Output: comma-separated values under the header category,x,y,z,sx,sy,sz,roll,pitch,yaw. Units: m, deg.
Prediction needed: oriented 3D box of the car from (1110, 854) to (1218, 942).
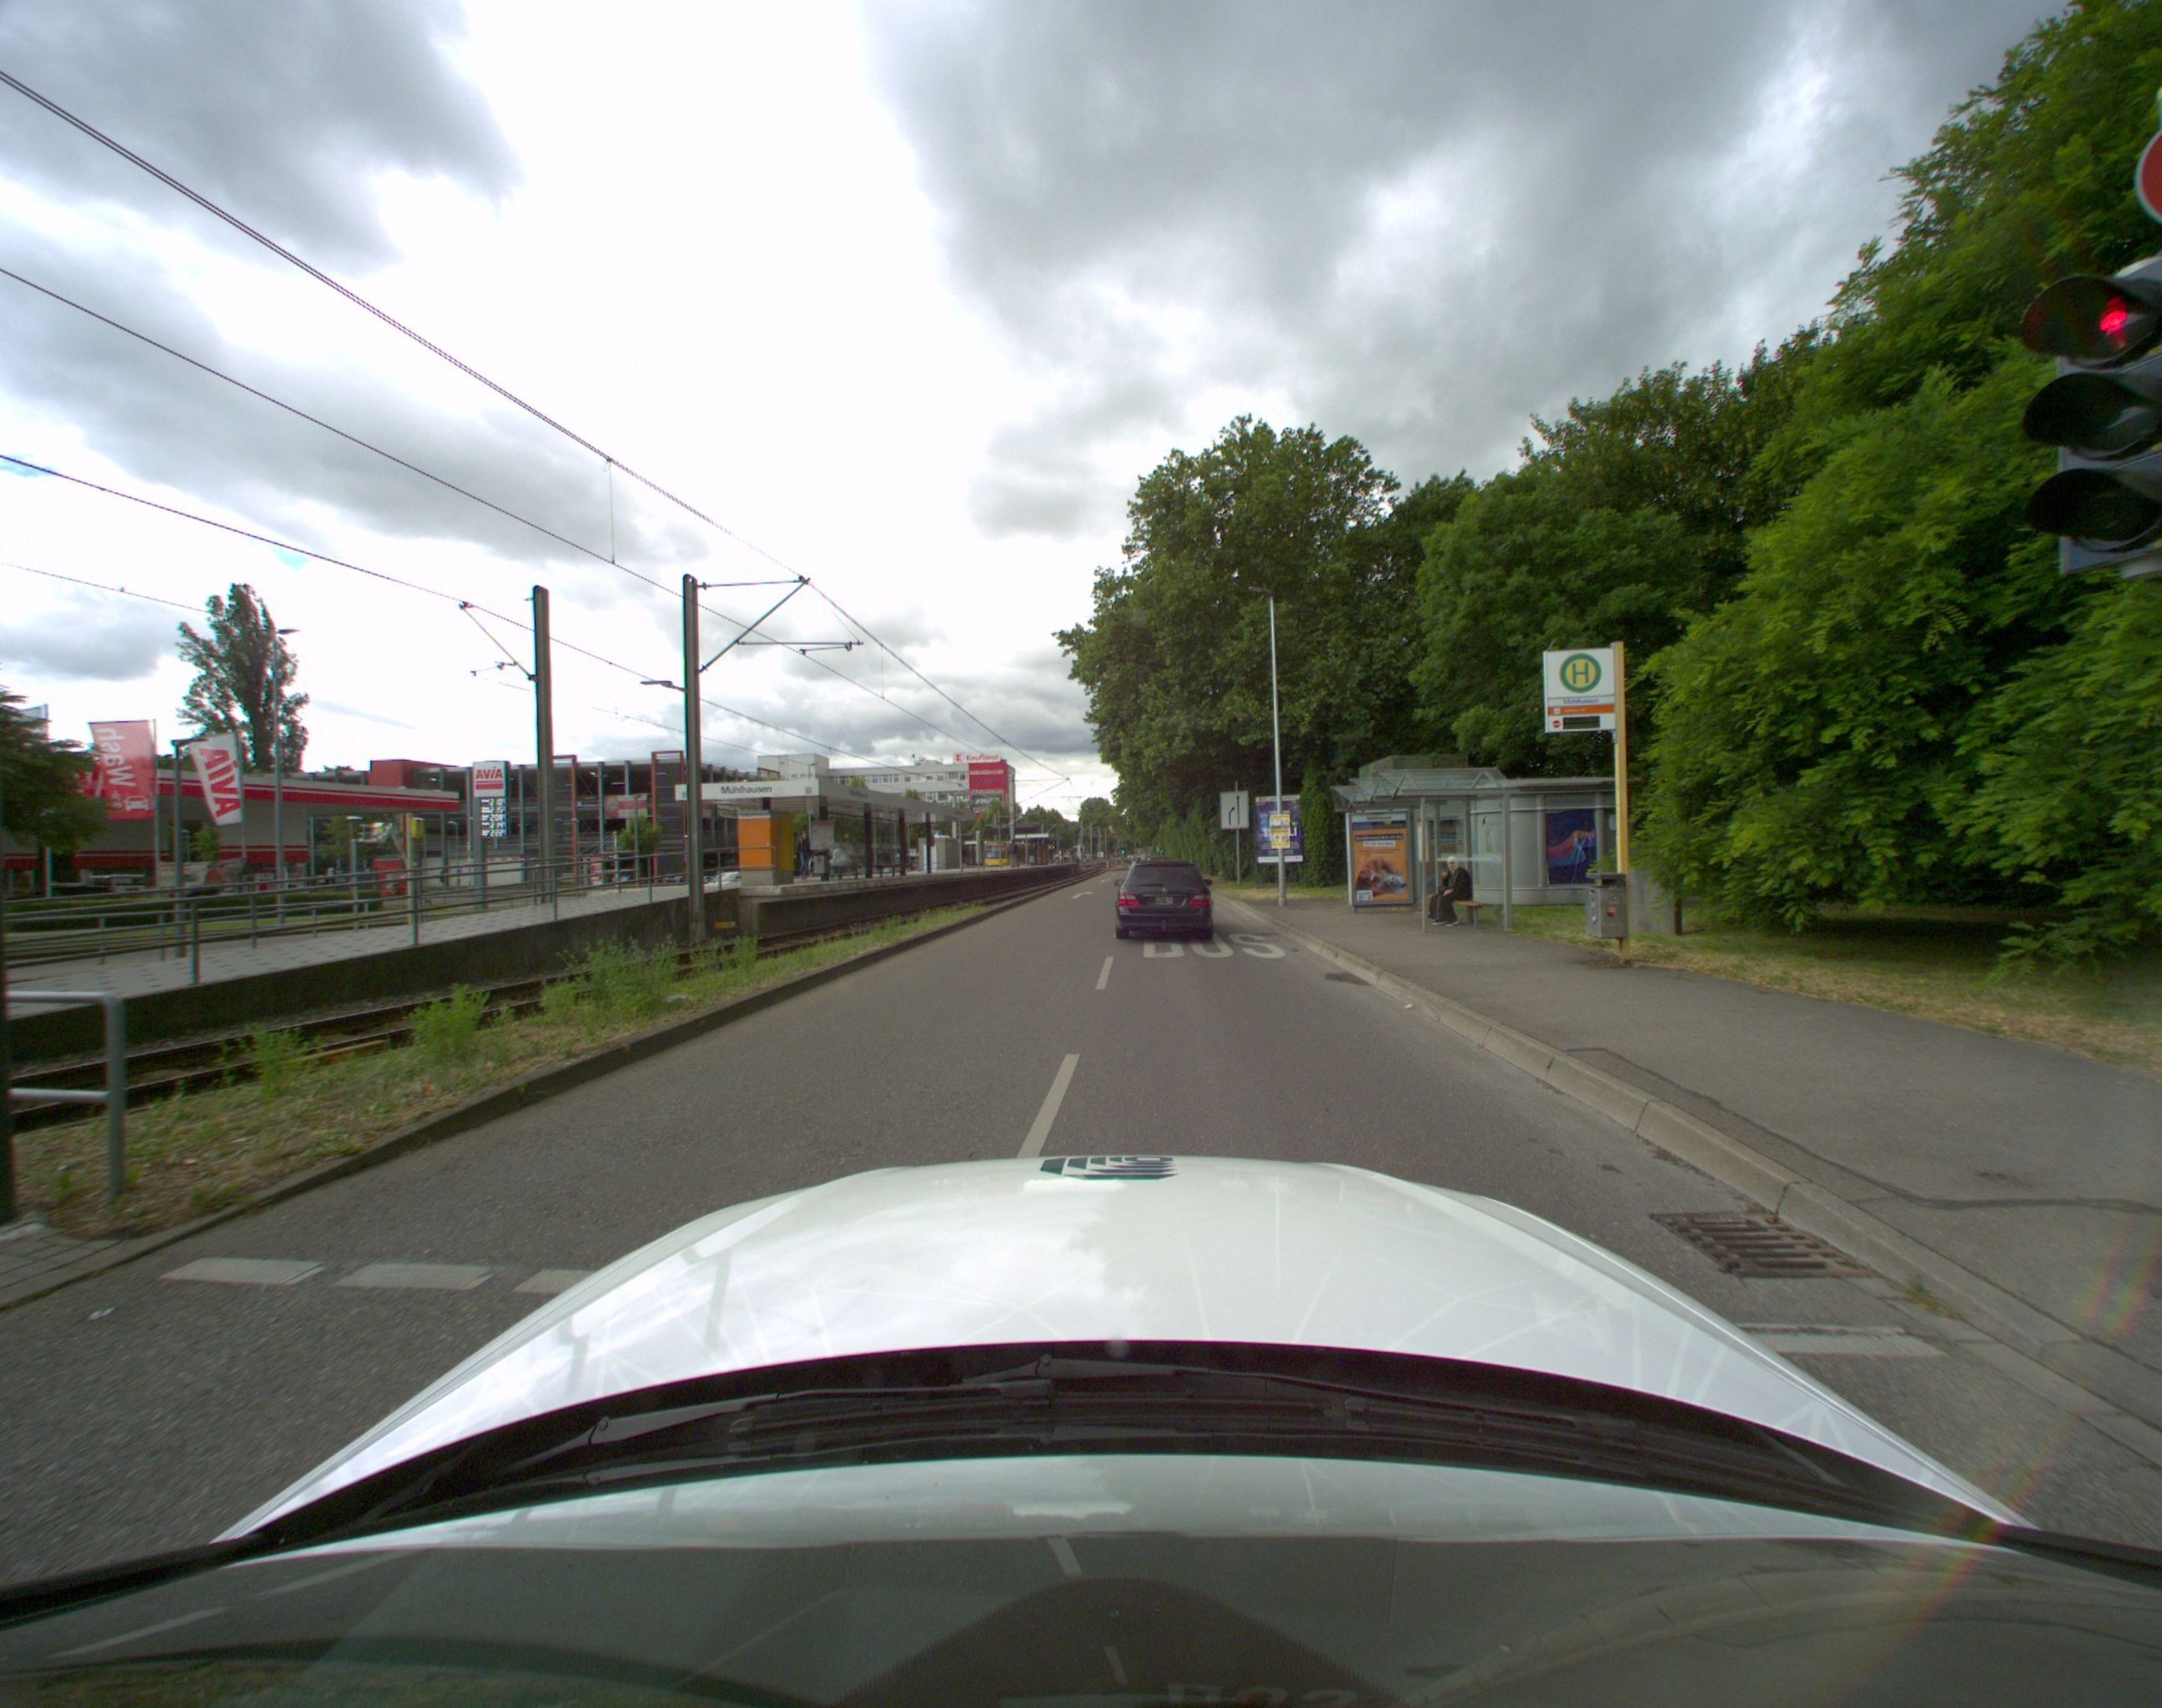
category,x,y,z,sx,sy,sz,roll,pitch,yaw
car,1.647,0.764,16.141,1.824,1.478,4.423,-1,0,6

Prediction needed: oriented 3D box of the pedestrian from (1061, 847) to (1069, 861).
category,x,y,z,sx,sy,sz,roll,pitch,yaw
pedestrian,-1.679,0.000,84.443,0.514,1.482,0.585,-4,-1,42

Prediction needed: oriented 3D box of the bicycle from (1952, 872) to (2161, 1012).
category,x,y,z,sx,sy,sz,roll,pitch,yaw
bicycle,7.657,0.603,5.747,2.021,0.939,0.594,-1,0,18

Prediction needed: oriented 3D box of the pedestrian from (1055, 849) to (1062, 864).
category,x,y,z,sx,sy,sz,roll,pitch,yaw
pedestrian,-2.399,0.266,85.643,0.478,1.483,0.537,-2,-1,-26

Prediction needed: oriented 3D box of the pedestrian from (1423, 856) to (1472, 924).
category,x,y,z,sx,sy,sz,roll,pitch,yaw
pedestrian,6.474,0.622,14.411,0.598,1.158,0.547,-3,-1,4

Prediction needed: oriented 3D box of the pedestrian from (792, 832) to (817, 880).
category,x,y,z,sx,sy,sz,roll,pitch,yaw
pedestrian,-9.545,0.083,28.143,0.567,1.620,0.586,-3,-1,4

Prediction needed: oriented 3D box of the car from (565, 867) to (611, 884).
category,x,y,z,sx,sy,sz,roll,pitch,yaw
car,-45.015,1.910,74.458,1.708,1.415,3.565,-3,-1,5

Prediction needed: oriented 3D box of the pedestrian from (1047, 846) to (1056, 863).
category,x,y,z,sx,sy,sz,roll,pitch,yaw
pedestrian,-2.965,0.044,81.839,0.768,1.678,0.791,-3,-1,4

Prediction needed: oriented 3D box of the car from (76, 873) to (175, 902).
category,x,y,z,sx,sy,sz,roll,pitch,yaw
car,-65.587,2.288,56.012,1.901,1.752,4.062,-3,-1,3

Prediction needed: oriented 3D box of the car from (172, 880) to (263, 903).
category,x,y,z,sx,sy,sz,roll,pitch,yaw
car,-60.444,2.572,57.117,1.901,1.365,4.062,-3,-1,3

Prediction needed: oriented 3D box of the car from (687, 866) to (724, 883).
category,x,y,z,sx,sy,sz,roll,pitch,yaw
car,-39.297,2.121,85.289,1.768,1.539,4.005,-3,0,5

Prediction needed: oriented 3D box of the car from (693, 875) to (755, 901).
category,x,y,z,sx,sy,sz,roll,pitch,yaw
car,-21.661,2.036,49.573,1.605,1.350,4.036,-2,0,5

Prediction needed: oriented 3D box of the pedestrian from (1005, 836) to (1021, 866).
category,x,y,z,sx,sy,sz,roll,pitch,yaw
pedestrian,-4.119,-0.179,49.303,0.745,1.744,0.938,-3,-1,4

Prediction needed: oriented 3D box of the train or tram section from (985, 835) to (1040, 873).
category,x,y,z,sx,sy,sz,roll,pitch,yaw
train or tram section,-7.668,0.022,94.430,2.742,3.883,18.662,-2,0,6

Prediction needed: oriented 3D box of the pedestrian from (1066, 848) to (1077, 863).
category,x,y,z,sx,sy,sz,roll,pitch,yaw
pedestrian,-1.006,0.157,90.675,0.881,1.678,0.736,-2,-1,-42

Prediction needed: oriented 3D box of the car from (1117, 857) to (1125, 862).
category,x,y,z,sx,sy,sz,roll,pitch,yaw
car,10.775,1.462,217.606,1.816,1.530,3.934,0,0,6

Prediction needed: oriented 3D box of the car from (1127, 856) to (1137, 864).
category,x,y,z,sx,sy,sz,roll,pitch,yaw
car,10.585,1.225,168.988,1.816,1.530,3.934,-2,0,6

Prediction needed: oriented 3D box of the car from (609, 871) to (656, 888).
category,x,y,z,sx,sy,sz,roll,pitch,yaw
car,-40.699,2.314,73.960,1.841,1.310,3.805,-3,-1,5

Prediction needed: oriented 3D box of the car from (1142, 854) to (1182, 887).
category,x,y,z,sx,sy,sz,roll,pitch,yaw
car,3.957,0.768,40.406,1.817,1.530,4.420,0,0,4

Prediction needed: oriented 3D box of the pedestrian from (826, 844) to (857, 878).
category,x,y,z,sx,sy,sz,roll,pitch,yaw
pedestrian,-8.451,0.247,28.777,0.765,1.189,0.730,-2,-1,8

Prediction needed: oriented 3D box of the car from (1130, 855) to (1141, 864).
category,x,y,z,sx,sy,sz,roll,pitch,yaw
car,9.676,1.023,145.254,1.816,1.530,4.423,0,0,6
